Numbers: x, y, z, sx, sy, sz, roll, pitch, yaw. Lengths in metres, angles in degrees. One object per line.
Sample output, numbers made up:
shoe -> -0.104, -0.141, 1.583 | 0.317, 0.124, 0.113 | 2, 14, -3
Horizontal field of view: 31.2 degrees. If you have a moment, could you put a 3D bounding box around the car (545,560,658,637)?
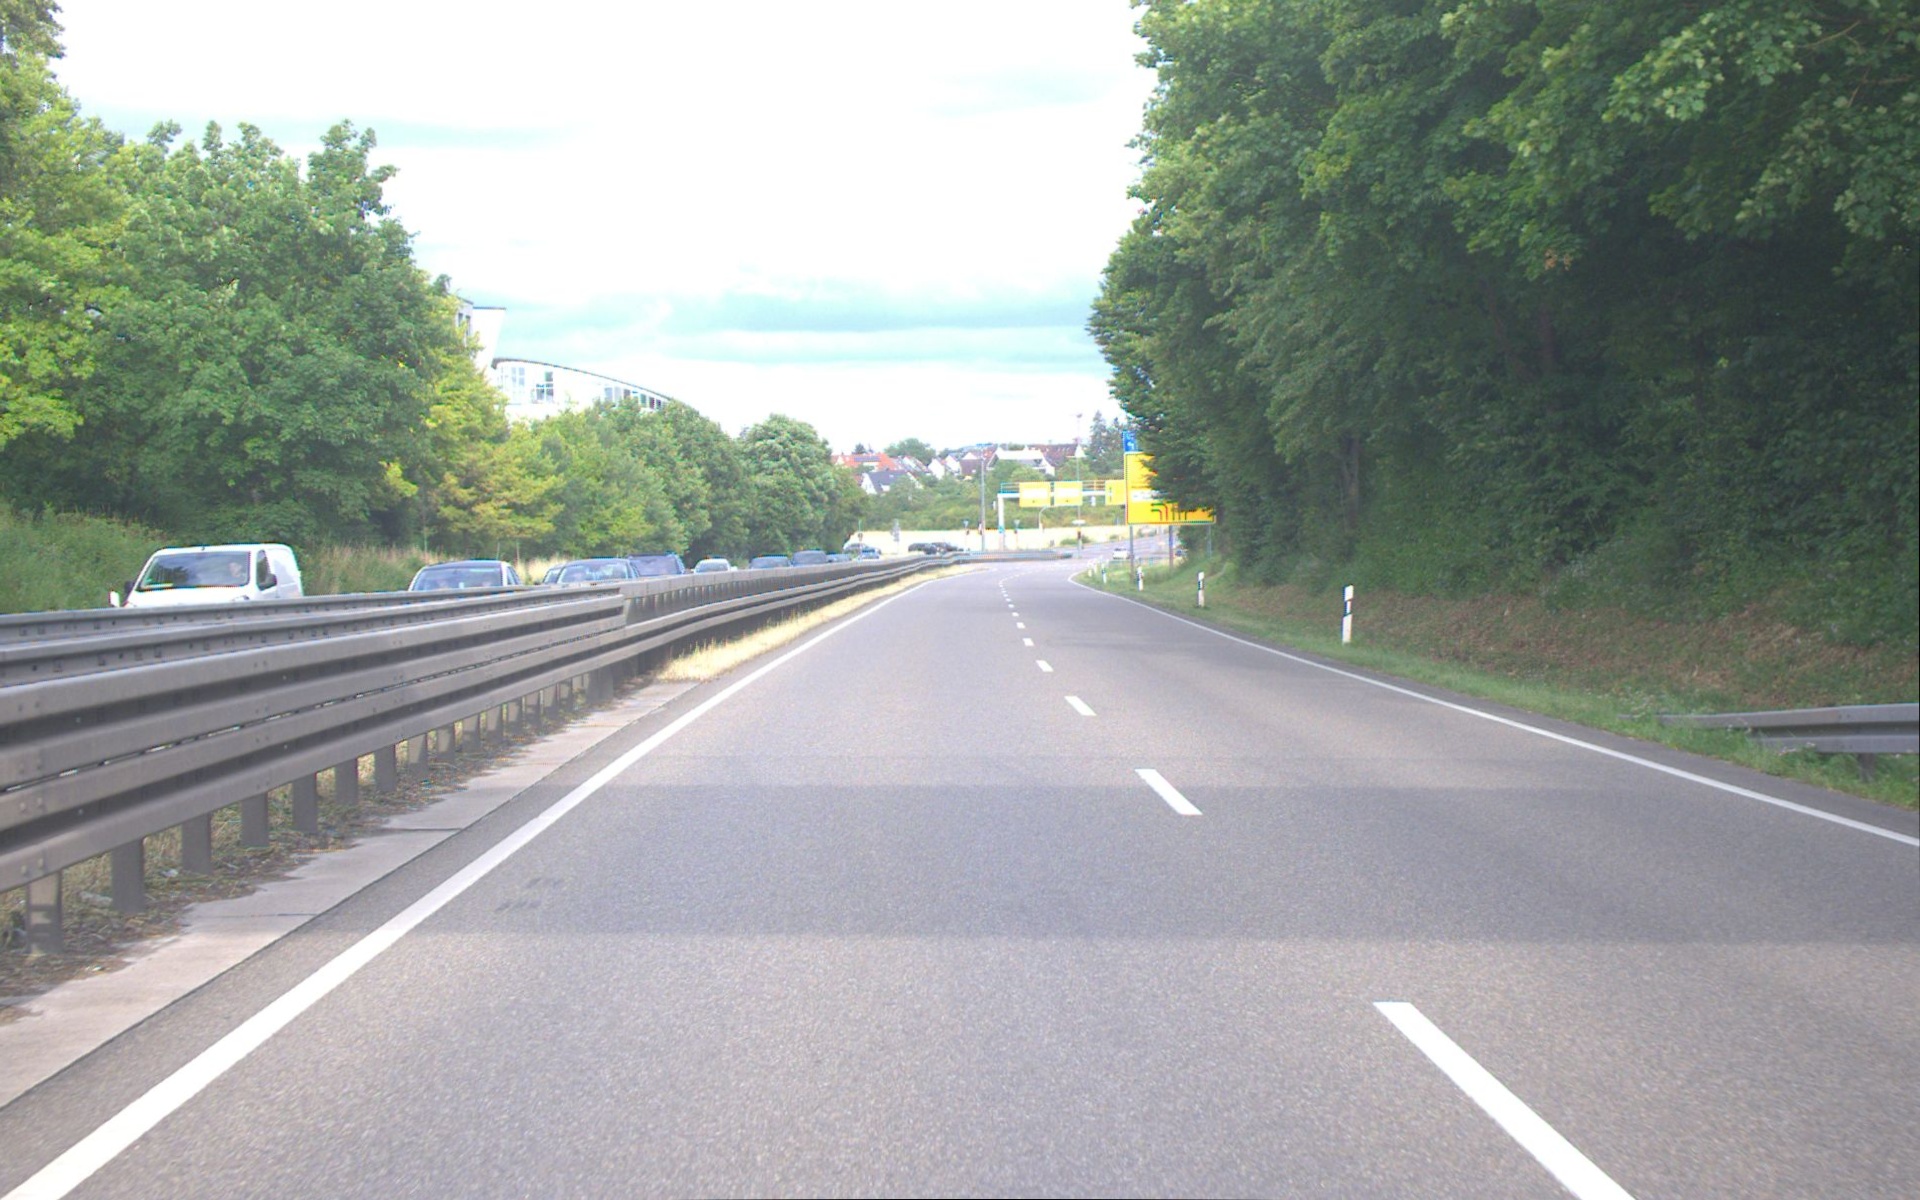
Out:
car -> -6.586, -0.049, 63.475 | 1.675, 1.347, 3.832 | -1, 1, 0

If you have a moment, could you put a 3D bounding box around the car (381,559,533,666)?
car -> -7.336, 0.155, 50.401 | 1.682, 1.481, 3.646 | -1, 1, 0

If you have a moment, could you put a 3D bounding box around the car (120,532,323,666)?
car -> -10.731, -0.055, 50.256 | 1.868, 1.849, 4.623 | -1, 1, 1

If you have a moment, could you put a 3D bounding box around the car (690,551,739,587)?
car -> -10.443, -1.348, 146.452 | 1.817, 1.480, 4.417 | 0, 1, -1
